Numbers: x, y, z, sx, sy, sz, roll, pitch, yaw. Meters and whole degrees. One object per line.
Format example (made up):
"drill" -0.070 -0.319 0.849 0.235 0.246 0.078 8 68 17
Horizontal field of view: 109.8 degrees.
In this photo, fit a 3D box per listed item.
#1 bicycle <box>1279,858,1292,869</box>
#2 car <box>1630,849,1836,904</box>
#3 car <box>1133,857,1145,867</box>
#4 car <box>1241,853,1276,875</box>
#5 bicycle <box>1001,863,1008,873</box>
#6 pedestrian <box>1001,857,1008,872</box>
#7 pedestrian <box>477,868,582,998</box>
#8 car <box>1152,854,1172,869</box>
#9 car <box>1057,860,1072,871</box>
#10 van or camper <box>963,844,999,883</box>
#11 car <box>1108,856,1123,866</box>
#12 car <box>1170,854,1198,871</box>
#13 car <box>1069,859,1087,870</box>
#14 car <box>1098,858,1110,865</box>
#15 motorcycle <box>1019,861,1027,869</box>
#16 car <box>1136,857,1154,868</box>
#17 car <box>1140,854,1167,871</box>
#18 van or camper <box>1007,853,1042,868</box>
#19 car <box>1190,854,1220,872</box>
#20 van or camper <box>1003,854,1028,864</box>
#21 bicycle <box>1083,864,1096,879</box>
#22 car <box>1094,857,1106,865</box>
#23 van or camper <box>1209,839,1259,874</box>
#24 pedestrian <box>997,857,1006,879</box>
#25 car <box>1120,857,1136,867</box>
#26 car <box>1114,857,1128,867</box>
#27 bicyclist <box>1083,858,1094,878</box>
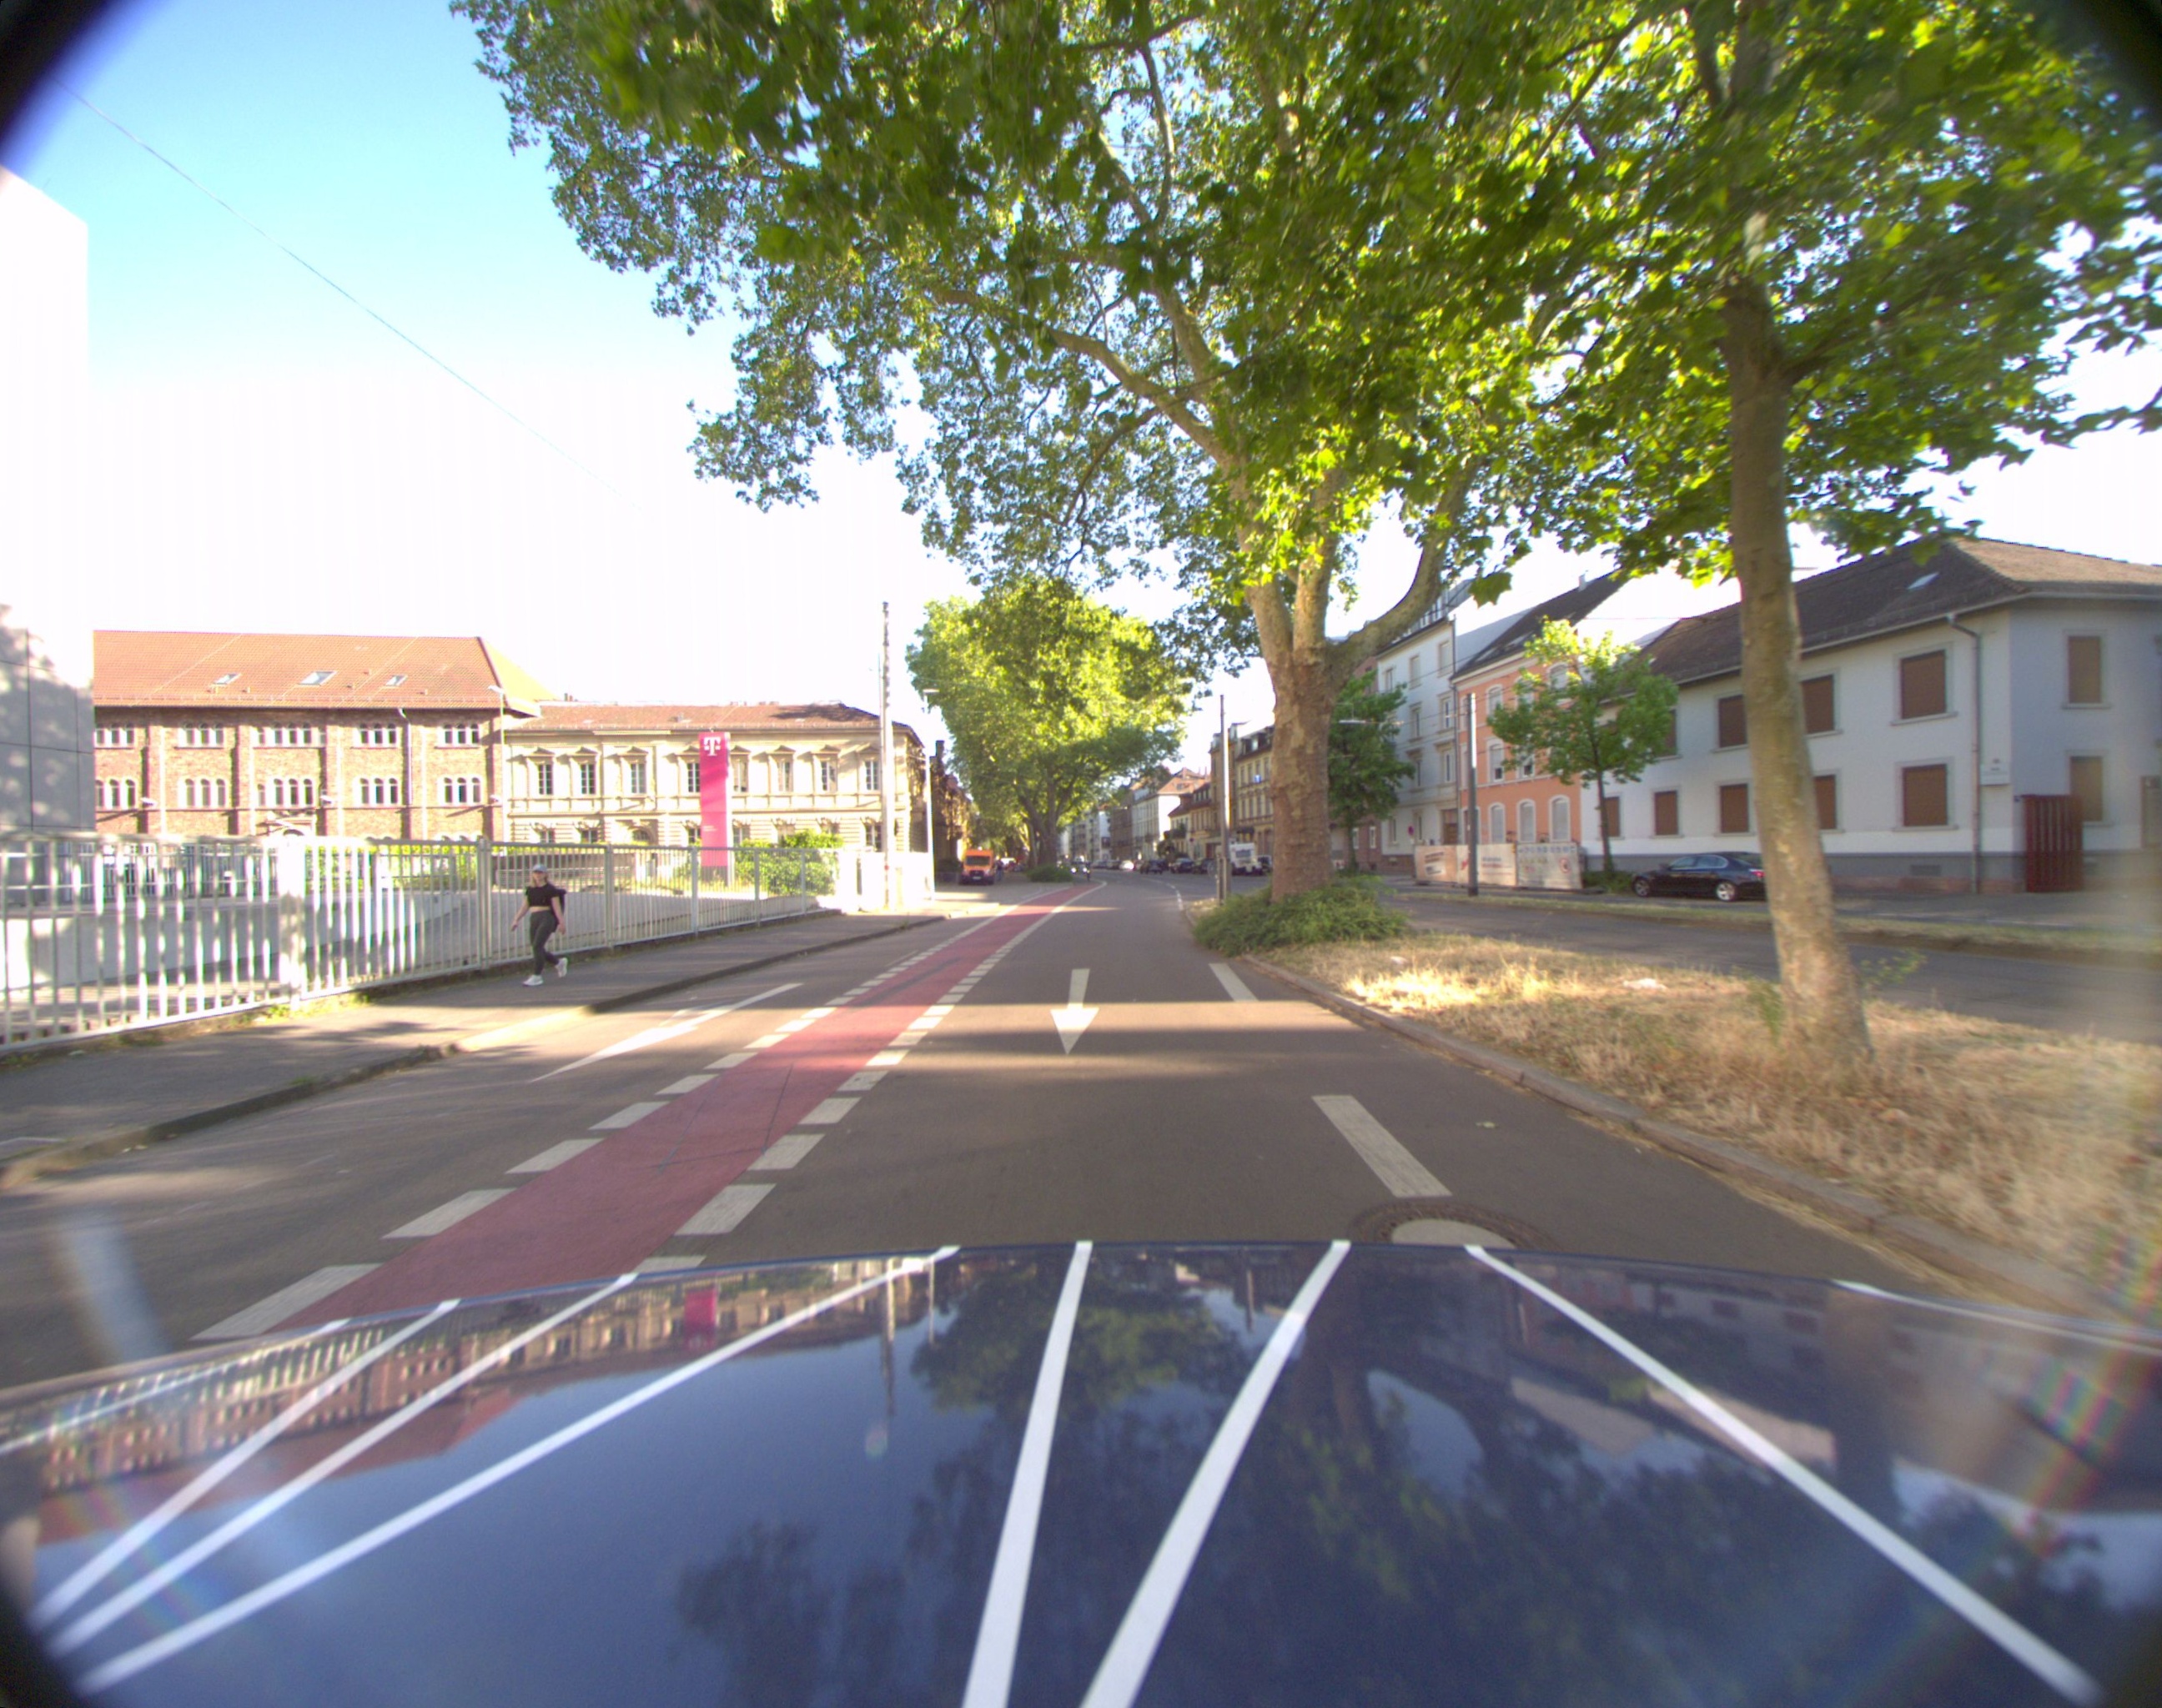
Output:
"bicycle" 18.422 0.860 68.419 0.580 0.918 1.791 -1 0 -4
"car" 19.849 0.633 23.475 2.000 1.505 4.722 -1 0 -7
"car" 8.745 1.182 114.622 1.422 1.502 3.324 -3 0 -3
"car" 14.936 0.797 64.085 1.636 1.696 3.368 -4 0 -9
"bicycle" -8.146 1.526 81.025 0.676 1.026 1.899 1 0 -6
"pedestrian" -8.140 1.118 81.010 0.671 1.610 1.101 1 0 -6
"pedestrian" -7.536 1.049 10.423 0.697 1.674 0.931 -1 0 4
"car" 10.582 0.944 99.502 1.729 1.736 3.624 -4 0 -5
"car" -2.336 1.628 109.372 1.741 1.365 3.916 -3 0 -7
"van or camper" -6.869 0.628 52.675 2.042 2.544 5.771 -1 0 -4
"car" 6.127 1.246 135.163 1.799 1.630 4.252 -3 0 -6
"car" 11.808 0.974 87.304 2.000 1.693 4.747 -5 0 -7
"car" -0.398 1.302 95.866 1.741 1.365 3.916 -3 0 -7
"car" 4.530 1.431 150.170 1.799 1.368 4.081 -3 0 -6
"motorcycle" -8.637 1.646 113.210 1.274 1.048 0.394 -1 0 -43
"car" 9.190 1.209 109.232 1.587 1.482 4.468 -3 0 -7
"car" 7.807 0.905 82.505 2.000 1.679 4.307 -1 0 -8
"van or camper" -9.956 1.136 133.492 5.931 2.484 2.218 -1 3 -8
"car" 12.935 0.940 79.653 1.816 1.695 4.440 -5 0 -7
"van or camper" -16.658 1.304 193.260 6.102 2.417 2.427 -1 0 -6
"bicycle" 0.620 1.310 57.724 0.715 1.131 2.119 -1 0 -5
"car" 3.944 1.393 155.437 1.799 1.617 4.081 -3 0 -6
"van or camper" 14.041 0.217 70.271 2.426 2.930 7.247 -5 0 -5
"pedestrian" -6.324 1.139 60.476 0.652 1.726 1.007 -1 0 -5
"car" 7.658 1.332 124.815 1.869 1.423 4.081 -3 0 -6
"car" 6.808 1.325 129.811 1.799 1.587 4.081 -3 0 -6
"bicyclist" 0.602 1.060 57.781 0.715 1.435 0.953 -1 0 -5
